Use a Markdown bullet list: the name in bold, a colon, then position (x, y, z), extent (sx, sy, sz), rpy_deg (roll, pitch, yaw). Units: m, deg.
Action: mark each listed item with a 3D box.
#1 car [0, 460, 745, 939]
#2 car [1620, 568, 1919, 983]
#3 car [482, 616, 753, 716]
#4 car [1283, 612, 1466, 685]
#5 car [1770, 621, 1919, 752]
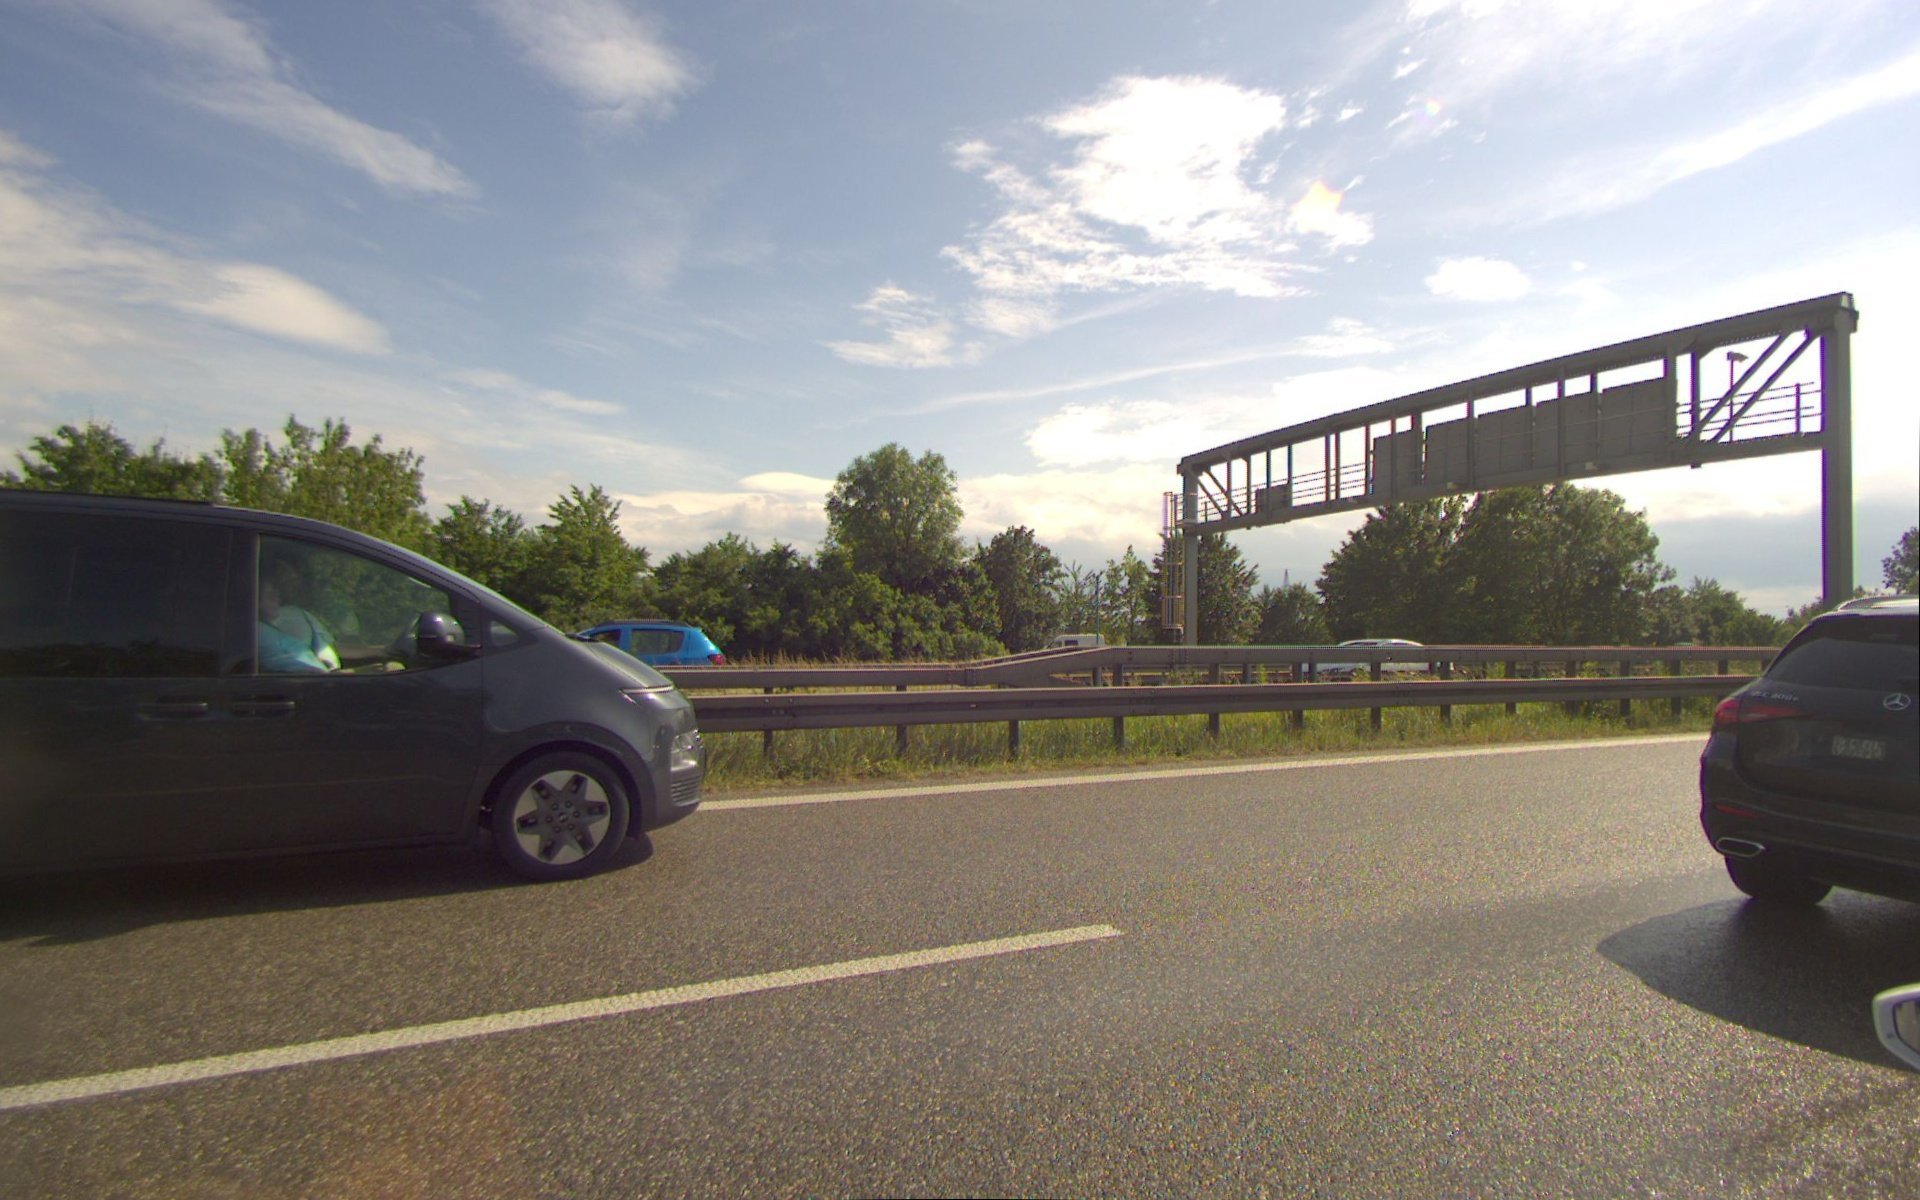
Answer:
- **car**: position (-3.994, 0.442, 5.446), extent (5.201, 2.040, 1.986), rpy_deg (1, -1, -27)
- **car**: position (5.779, 0.770, 5.226), extent (4.347, 1.683, 1.987), rpy_deg (2, -1, -26)
- **car**: position (-5.381, 0.975, 15.812), extent (3.827, 1.398, 1.750), rpy_deg (1, -1, -28)
- **car**: position (10.627, 1.202, 25.694), extent (4.404, 1.710, 1.986), rpy_deg (1, -1, -28)
- **car**: position (12.942, 1.078, 13.387), extent (4.153, 1.537, 1.751), rpy_deg (1, -1, -26)
